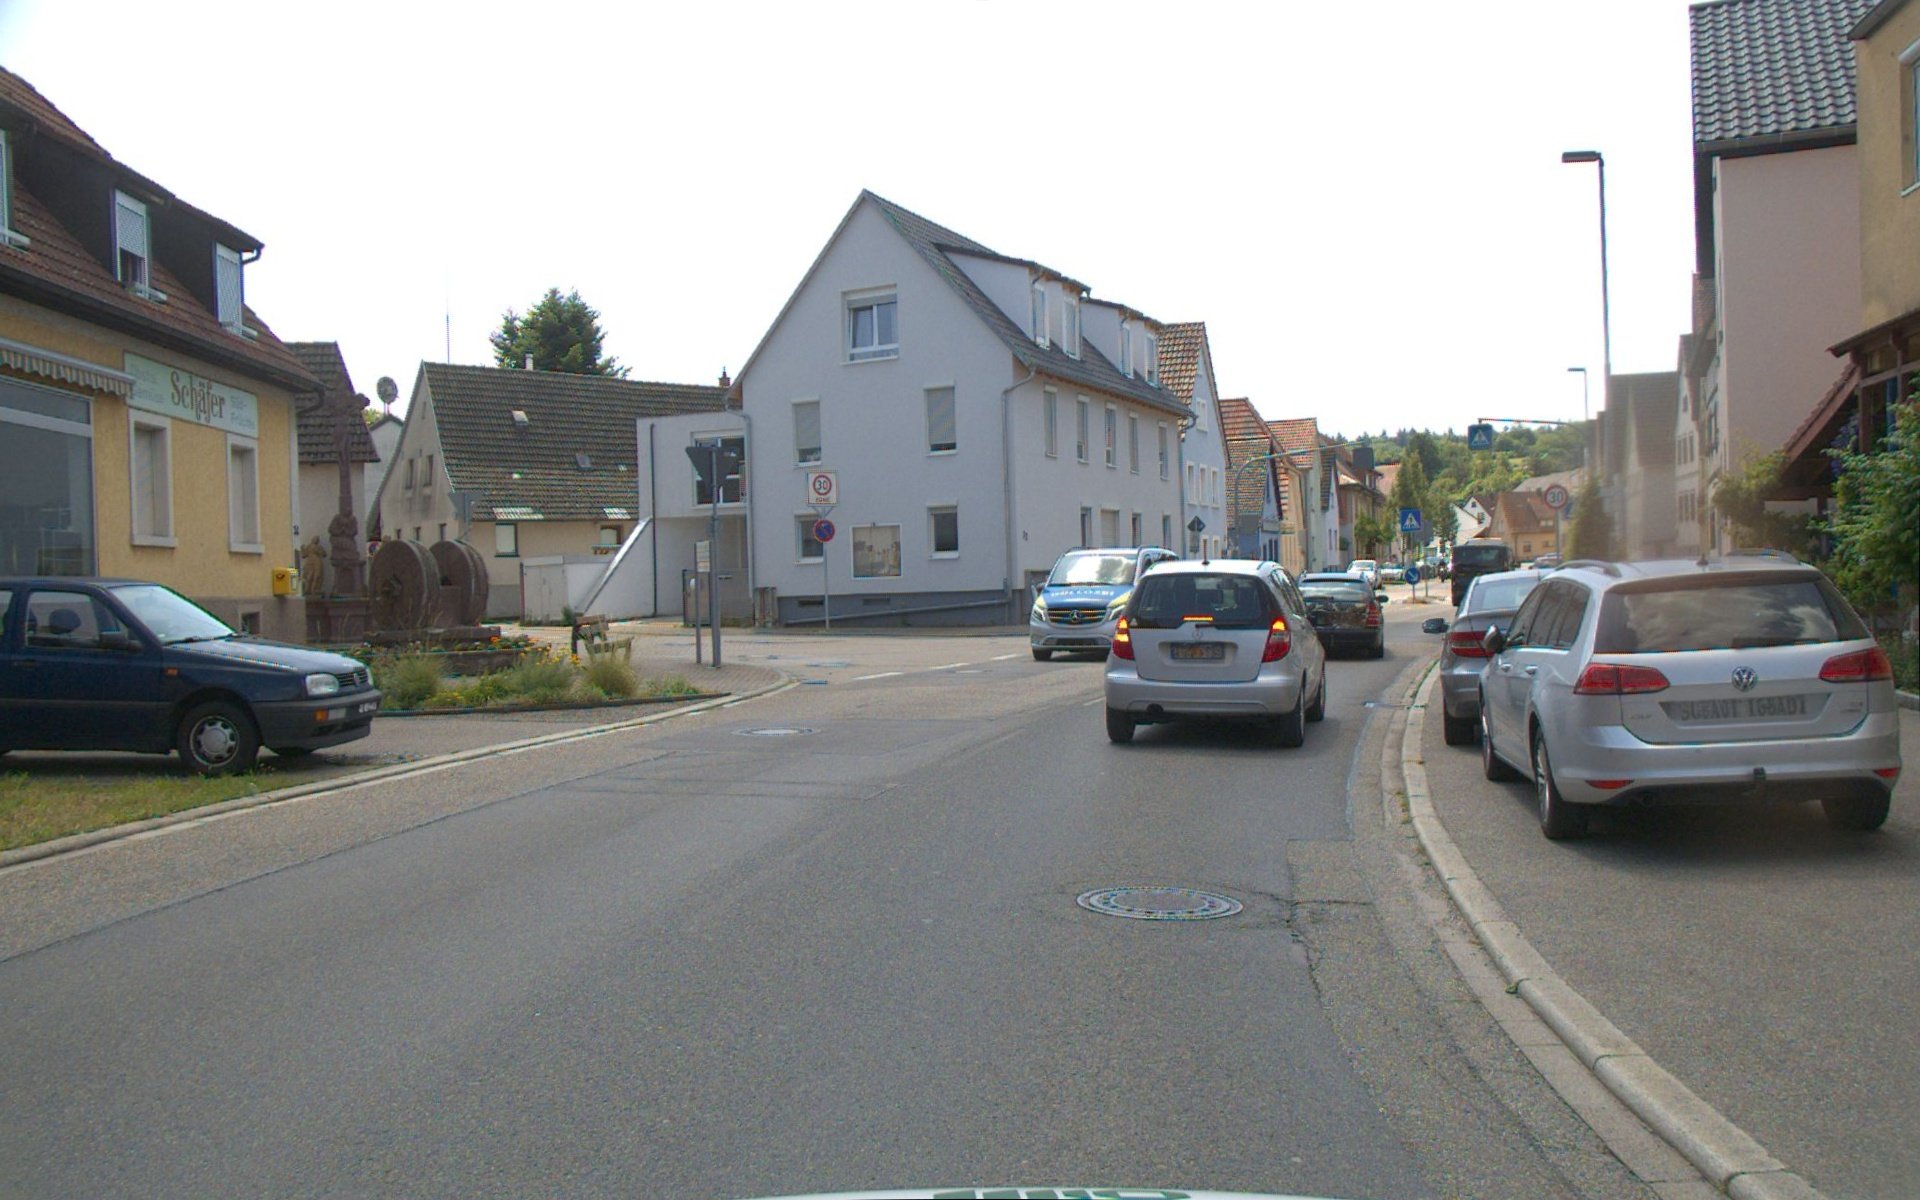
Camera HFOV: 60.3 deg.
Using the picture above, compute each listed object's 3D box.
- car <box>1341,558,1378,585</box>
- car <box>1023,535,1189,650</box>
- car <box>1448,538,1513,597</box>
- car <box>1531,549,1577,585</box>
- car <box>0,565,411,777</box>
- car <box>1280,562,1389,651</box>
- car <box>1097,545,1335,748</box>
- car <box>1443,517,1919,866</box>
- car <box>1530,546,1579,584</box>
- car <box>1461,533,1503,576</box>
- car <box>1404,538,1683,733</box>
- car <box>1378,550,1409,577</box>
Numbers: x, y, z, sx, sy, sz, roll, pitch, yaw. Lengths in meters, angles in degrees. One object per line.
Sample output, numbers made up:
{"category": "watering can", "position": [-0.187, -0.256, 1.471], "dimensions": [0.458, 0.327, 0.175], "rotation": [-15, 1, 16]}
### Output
{"category": "car", "position": [22.113, -1.550, 91.460], "dimensions": [1.951, 1.344, 3.711], "rotation": [-1, -1, 14]}
{"category": "car", "position": [2.681, -0.092, 29.111], "dimensions": [1.951, 1.831, 4.938], "rotation": [-1, -1, 17]}
{"category": "car", "position": [17.259, -1.036, 54.782], "dimensions": [1.952, 1.848, 4.002], "rotation": [-1, -1, 18]}
{"category": "car", "position": [27.994, -1.524, 78.025], "dimensions": [1.952, 1.534, 4.001], "rotation": [-1, -1, 19]}
{"category": "car", "position": [-6.396, 0.497, 12.584], "dimensions": [3.889, 1.489, 1.720], "rotation": [0, 0, -4]}
{"category": "car", "position": [6.444, 0.127, 28.779], "dimensions": [1.712, 1.441, 4.003], "rotation": [-1, -1, 11]}
{"category": "car", "position": [2.546, 0.348, 15.713], "dimensions": [1.772, 1.672, 3.732], "rotation": [1, 1, 16]}
{"category": "car", "position": [4.164, 0.413, 9.970], "dimensions": [1.845, 1.556, 4.340], "rotation": [-4, 0, 10]}
{"category": "car", "position": [25.833, -1.503, 71.962], "dimensions": [1.952, 1.534, 4.001], "rotation": [-1, -1, 19]}
{"category": "car", "position": [26.974, -2.332, 85.360], "dimensions": [1.952, 2.049, 4.001], "rotation": [-1, -1, 19]}
{"category": "car", "position": [5.169, 0.303, 15.222], "dimensions": [1.732, 1.424, 4.428], "rotation": [-4, -1, 11]}
{"category": "car", "position": [28.081, -2.332, 107.192], "dimensions": [1.632, 1.624, 4.001], "rotation": [-1, -1, 19]}
